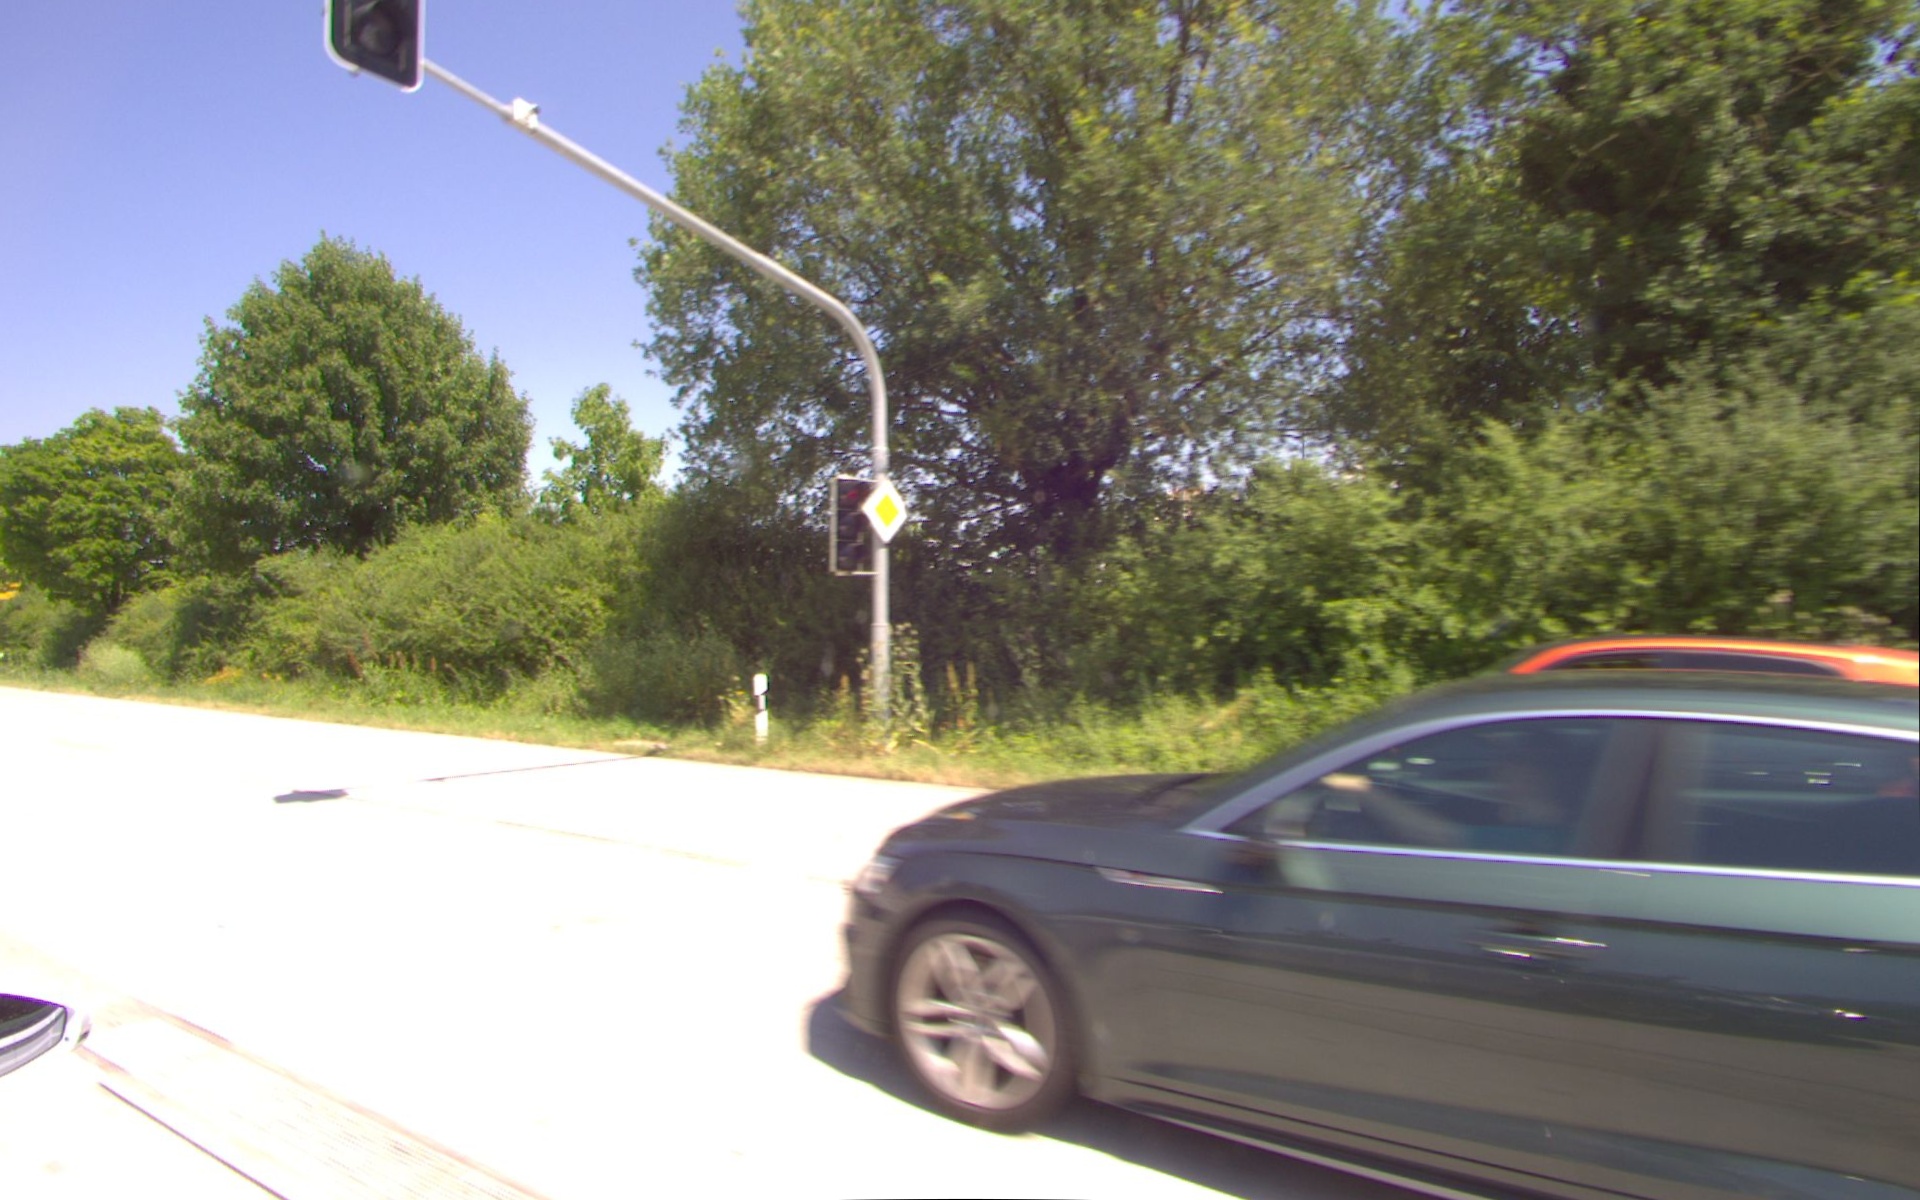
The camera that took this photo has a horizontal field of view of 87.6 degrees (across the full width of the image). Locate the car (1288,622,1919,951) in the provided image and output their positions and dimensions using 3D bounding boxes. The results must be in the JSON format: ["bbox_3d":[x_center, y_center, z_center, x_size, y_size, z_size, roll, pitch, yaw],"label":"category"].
[{"bbox_3d":[3.961,0.917,5.932,3.595,1.528,1.767,-1,-2,28],"label":"car"}]

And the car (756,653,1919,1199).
[{"bbox_3d":[1.696,0.895,2.982,4.542,1.428,1.765,-2,-2,31],"label":"car"}]
